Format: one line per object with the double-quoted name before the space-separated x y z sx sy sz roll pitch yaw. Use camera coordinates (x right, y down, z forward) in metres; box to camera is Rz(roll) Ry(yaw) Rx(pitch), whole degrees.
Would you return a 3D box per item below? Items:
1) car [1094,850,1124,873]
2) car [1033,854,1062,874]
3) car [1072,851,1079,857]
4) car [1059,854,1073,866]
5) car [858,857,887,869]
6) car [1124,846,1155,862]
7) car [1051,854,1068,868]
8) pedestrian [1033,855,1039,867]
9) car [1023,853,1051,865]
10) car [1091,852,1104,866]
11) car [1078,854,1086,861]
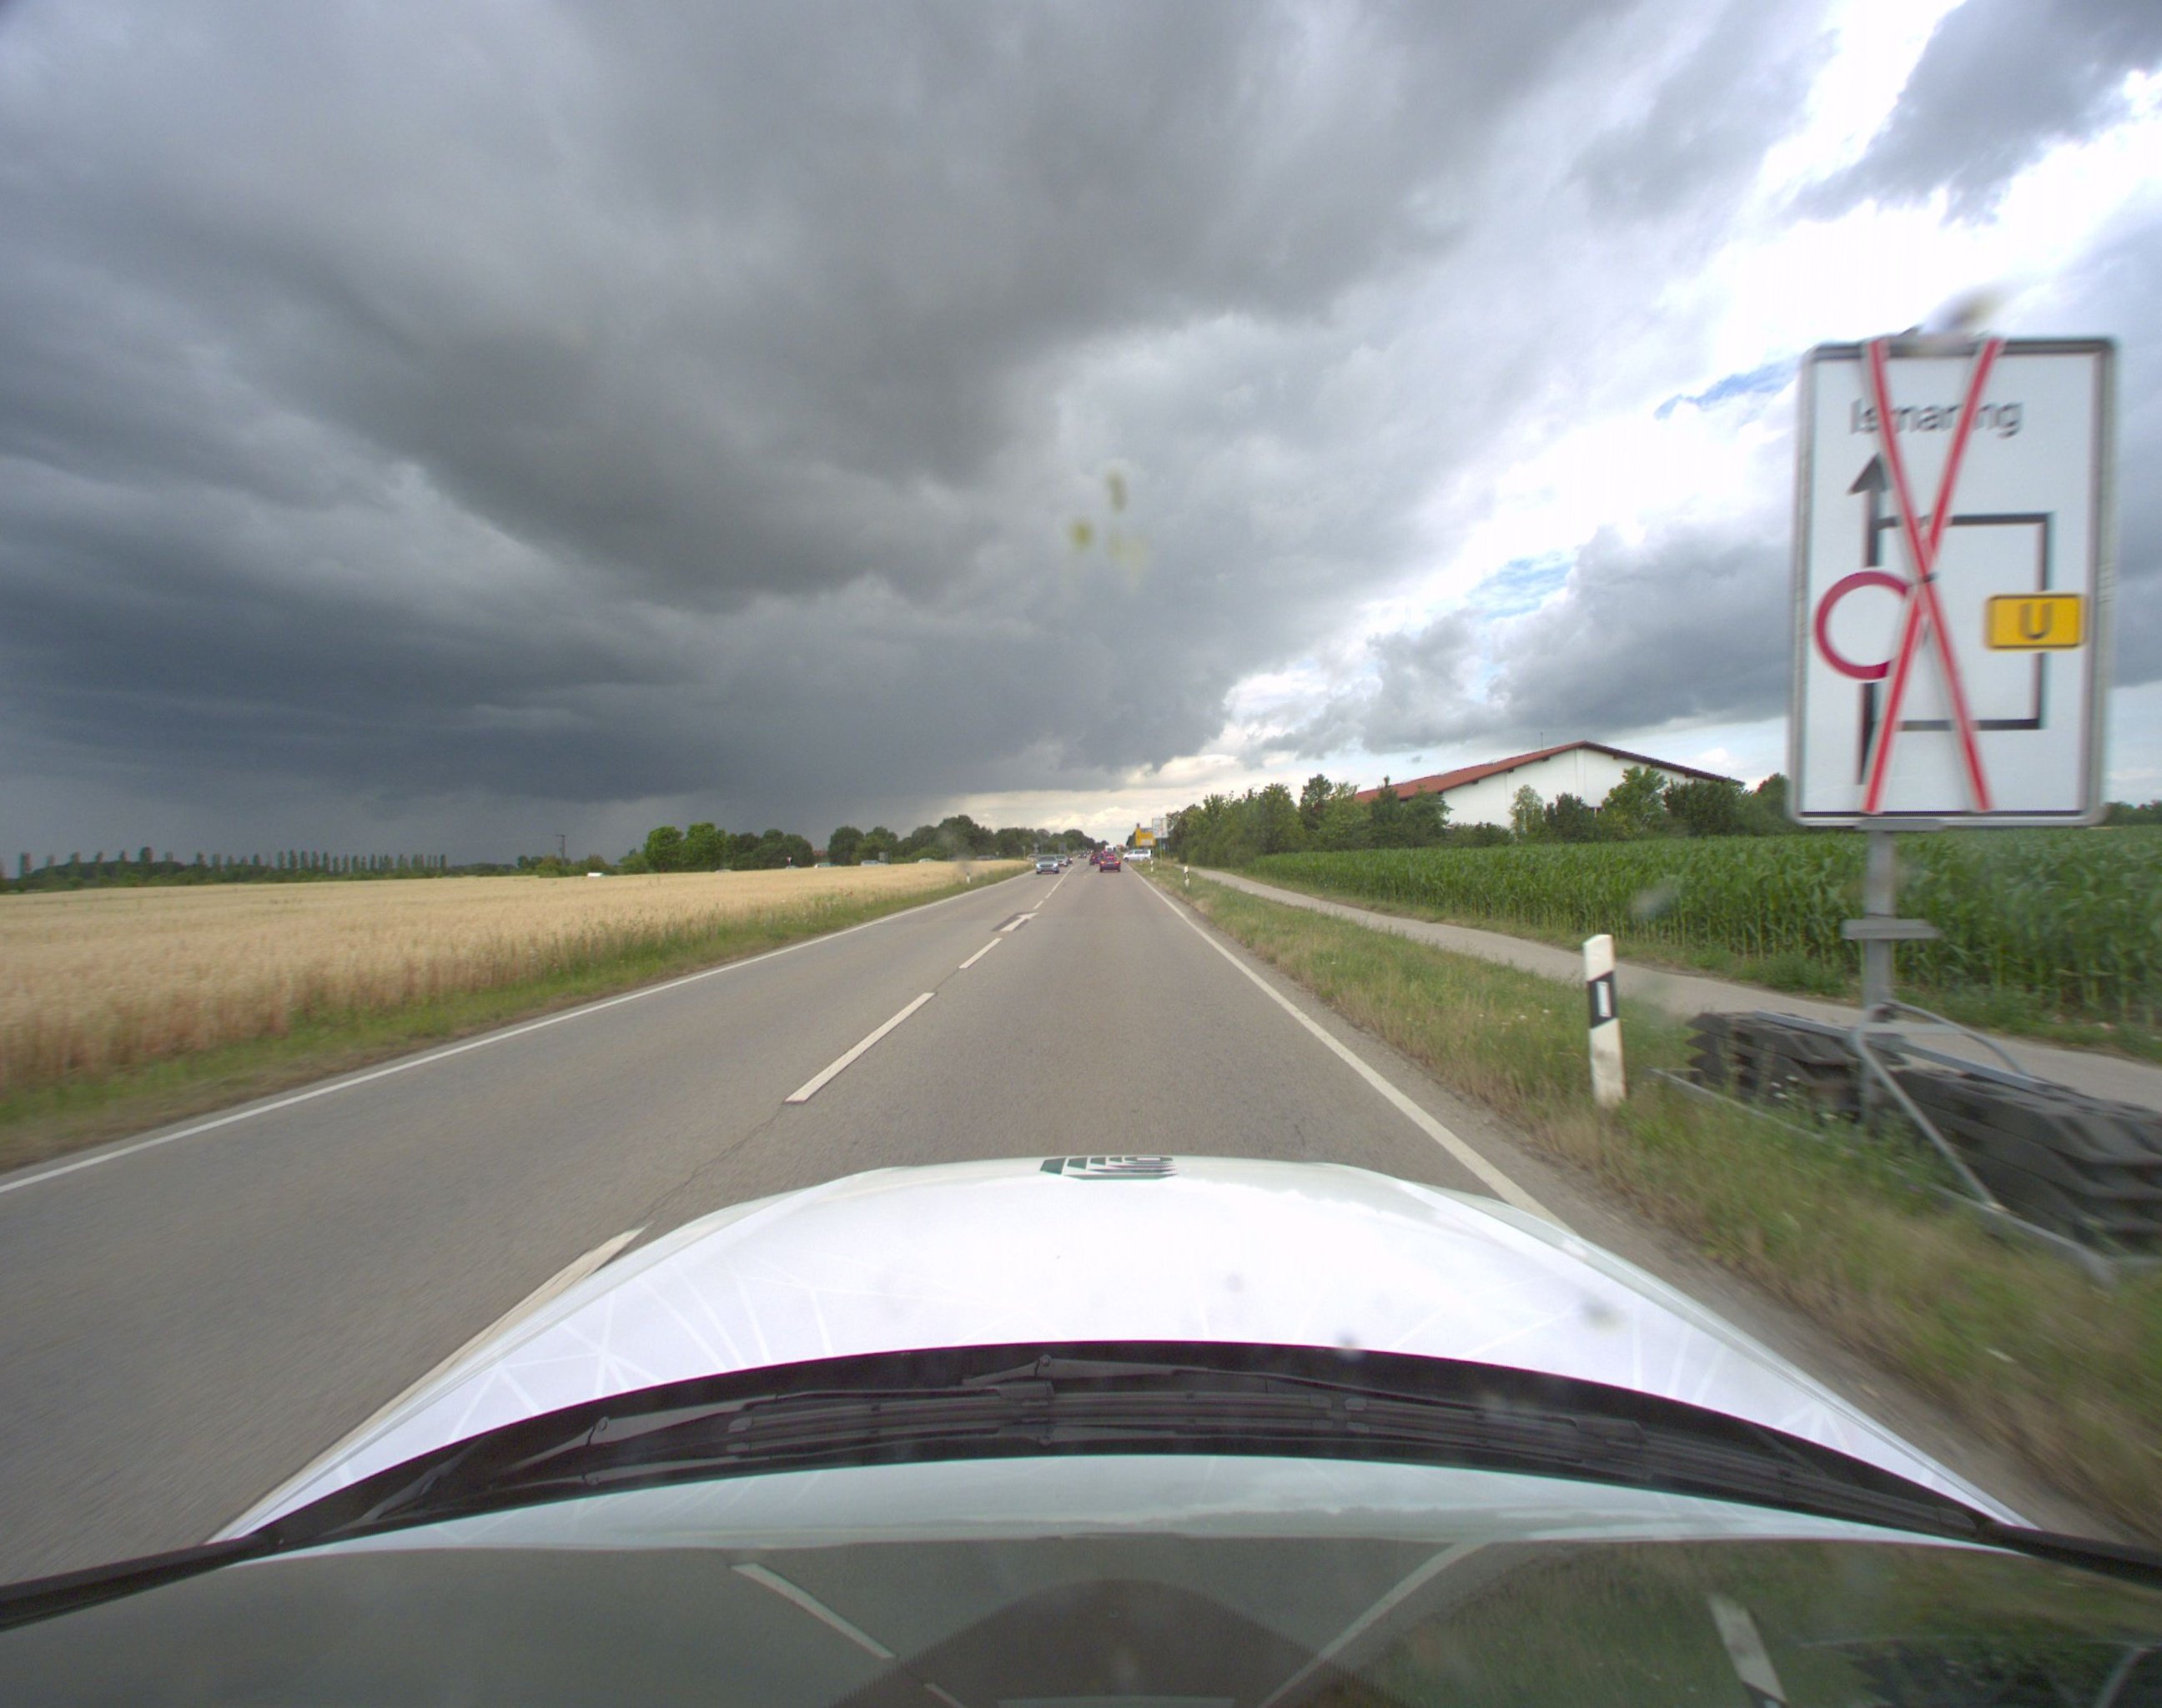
"car" 2.434 0.657 71.837 2.365 1.880 4.476 -3 0 -1
"car" -2.836 0.824 70.060 2.057 1.580 4.767 -3 0 2
"car" -1.400 -0.057 211.038 1.639 1.590 4.002 -2 0 2
"car" -2.179 0.843 117.811 1.846 1.630 4.002 -2 0 2
"car" -33.550 1.440 131.120 4.051 1.649 1.869 -2 0 6
"car" 9.766 -0.026 134.916 4.803 2.452 2.012 -2 0 12
"car" -2.610 0.856 99.286 1.760 1.601 4.932 -2 0 2
"pedestrian" -6.263 0.964 113.440 0.363 1.575 0.708 -2 0 37
"car" -6.967 0.763 129.165 4.403 1.649 1.500 -2 0 -4
"car" 2.195 0.660 106.929 1.565 1.701 4.002 -2 0 2
"car" 0.144 0.784 185.709 1.639 1.590 4.002 -2 0 2
